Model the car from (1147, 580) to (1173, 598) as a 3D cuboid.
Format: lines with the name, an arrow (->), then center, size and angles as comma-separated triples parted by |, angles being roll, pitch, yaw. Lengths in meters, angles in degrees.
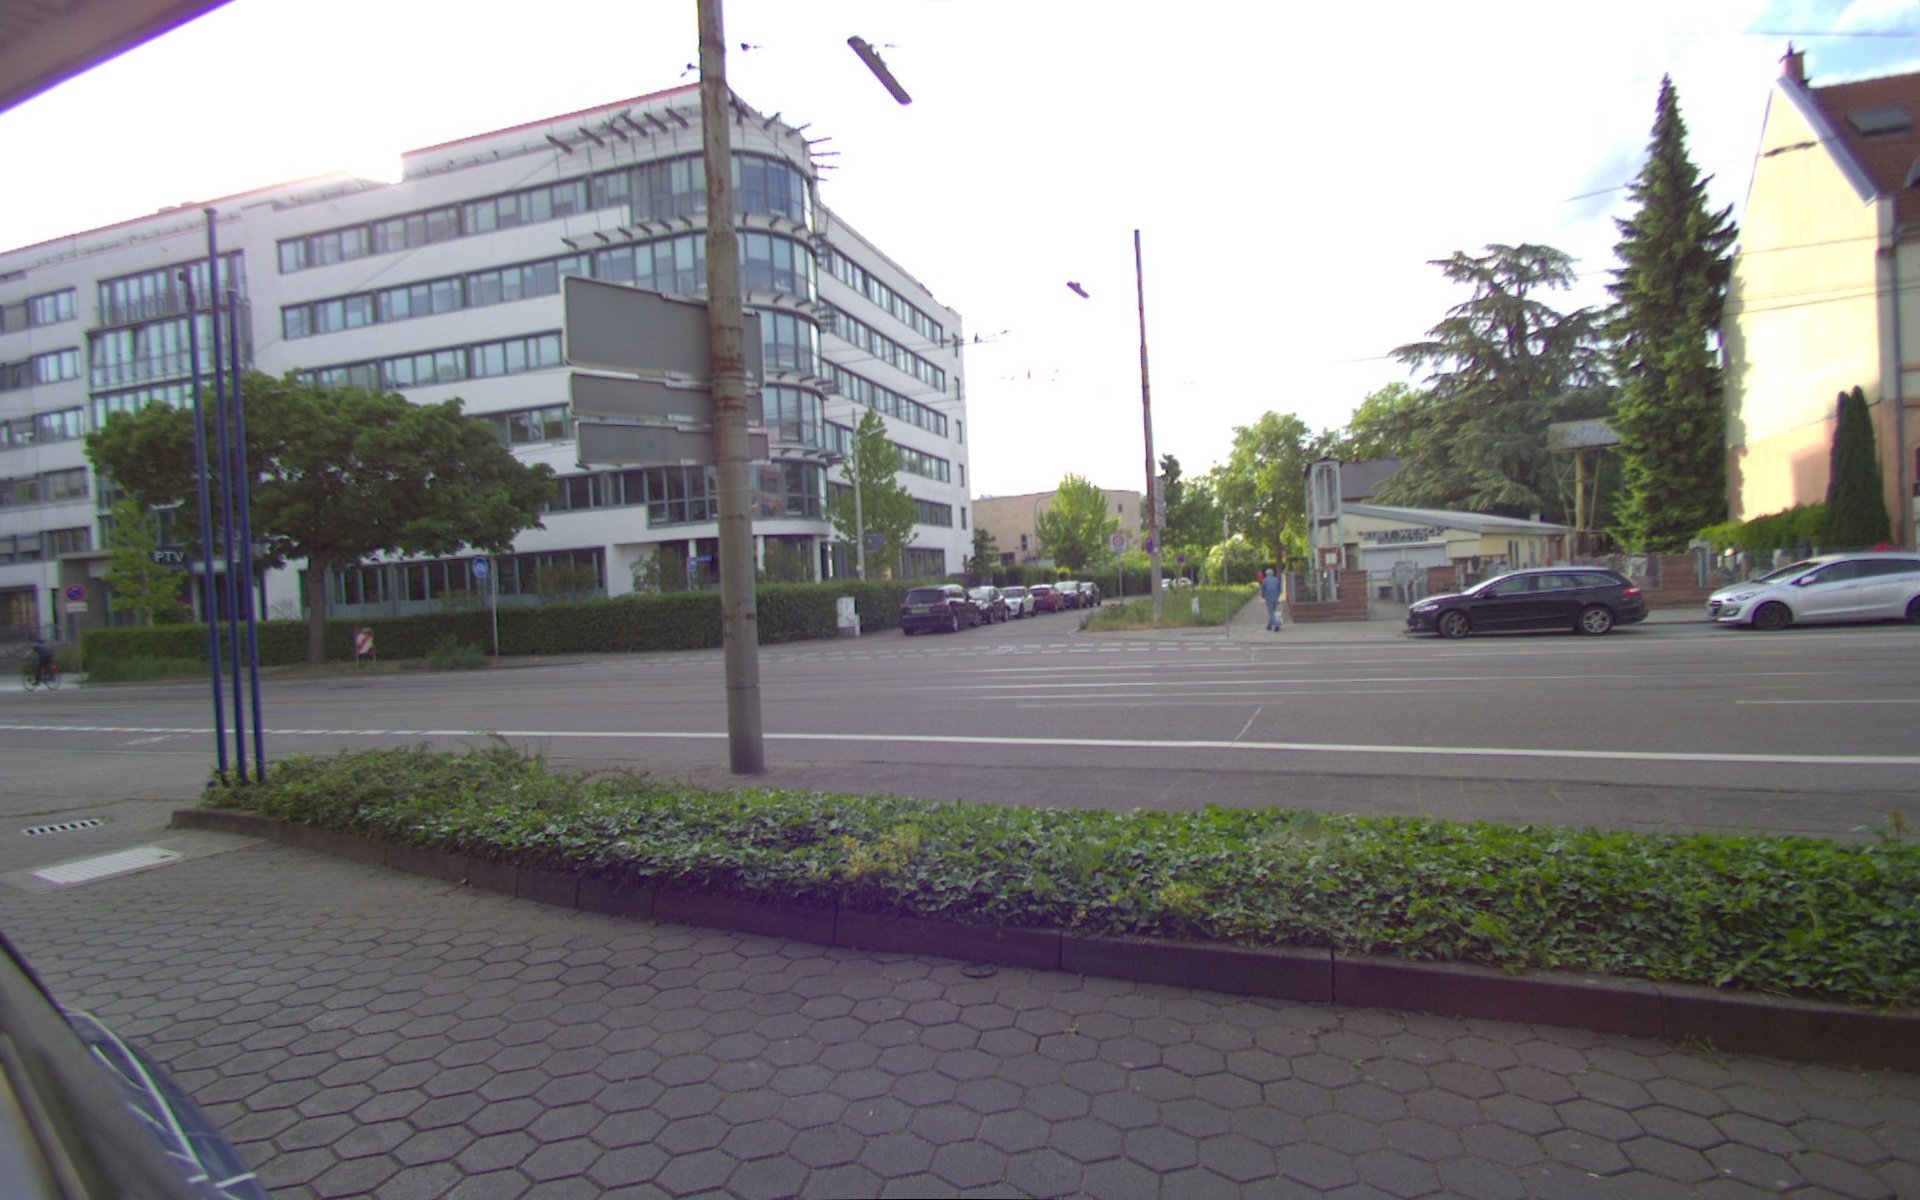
car -> 19.958, -1.136, 100.907 | 1.811, 1.654, 4.044 | -4, 0, 22

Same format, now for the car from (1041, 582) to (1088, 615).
car -> 6.030, -0.135, 57.805 | 1.807, 1.704, 4.392 | -4, 0, 16

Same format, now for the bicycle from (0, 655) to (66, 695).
bicycle -> -30.529, 2.446, 33.269 | 1.864, 1.248, 0.788 | -1, 0, 13

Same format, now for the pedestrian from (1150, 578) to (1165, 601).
pedestrian -> 16.577, -0.876, 84.884 | 1.047, 1.896, 0.973 | -1, 0, 1

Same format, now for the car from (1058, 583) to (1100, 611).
car -> 7.385, -0.212, 62.571 | 1.807, 1.585, 4.052 | -4, 0, 16

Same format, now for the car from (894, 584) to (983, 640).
car -> -0.689, 0.360, 35.567 | 1.807, 1.701, 4.370 | -4, 1, 16

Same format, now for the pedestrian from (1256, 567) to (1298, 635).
pedestrian -> 8.491, 0.009, 27.162 | 0.900, 1.712, 0.922 | -3, 4, 11

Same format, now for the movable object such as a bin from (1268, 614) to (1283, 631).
movable object such as a bin -> 8.725, 0.614, 28.011 | 0.363, 0.397, 0.660 | -3, 4, 15

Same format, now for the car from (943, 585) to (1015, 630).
car -> 0.829, 0.273, 40.982 | 1.807, 1.589, 4.175 | -4, 0, 16

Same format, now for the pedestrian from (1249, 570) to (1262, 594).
pedestrian -> 22.993, -1.394, 78.703 | 0.965, 1.896, 1.056 | -1, 0, 17

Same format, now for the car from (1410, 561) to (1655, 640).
car -> 13.011, 0.012, 23.368 | 4.632, 1.533, 1.842 | -3, 2, 22

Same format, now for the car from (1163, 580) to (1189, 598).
car -> 22.836, -1.156, 106.854 | 1.813, 1.654, 4.040 | -4, 0, 25

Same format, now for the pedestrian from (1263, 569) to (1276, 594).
pedestrian -> 23.966, -1.407, 78.412 | 0.965, 1.896, 1.056 | -1, 0, 17

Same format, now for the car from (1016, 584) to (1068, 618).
car -> 4.299, 0.024, 52.408 | 1.807, 1.589, 4.175 | -4, 0, 16

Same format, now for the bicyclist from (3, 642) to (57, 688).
bicyclist -> -30.595, 2.137, 33.288 | 1.164, 1.462, 0.788 | -1, 0, 13

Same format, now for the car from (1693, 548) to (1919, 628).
car -> 18.404, -0.263, 21.397 | 4.349, 1.493, 1.732 | -3, 1, 22

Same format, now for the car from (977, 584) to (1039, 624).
car -> 2.223, 0.154, 45.686 | 1.807, 1.589, 4.175 | -4, 0, 16
